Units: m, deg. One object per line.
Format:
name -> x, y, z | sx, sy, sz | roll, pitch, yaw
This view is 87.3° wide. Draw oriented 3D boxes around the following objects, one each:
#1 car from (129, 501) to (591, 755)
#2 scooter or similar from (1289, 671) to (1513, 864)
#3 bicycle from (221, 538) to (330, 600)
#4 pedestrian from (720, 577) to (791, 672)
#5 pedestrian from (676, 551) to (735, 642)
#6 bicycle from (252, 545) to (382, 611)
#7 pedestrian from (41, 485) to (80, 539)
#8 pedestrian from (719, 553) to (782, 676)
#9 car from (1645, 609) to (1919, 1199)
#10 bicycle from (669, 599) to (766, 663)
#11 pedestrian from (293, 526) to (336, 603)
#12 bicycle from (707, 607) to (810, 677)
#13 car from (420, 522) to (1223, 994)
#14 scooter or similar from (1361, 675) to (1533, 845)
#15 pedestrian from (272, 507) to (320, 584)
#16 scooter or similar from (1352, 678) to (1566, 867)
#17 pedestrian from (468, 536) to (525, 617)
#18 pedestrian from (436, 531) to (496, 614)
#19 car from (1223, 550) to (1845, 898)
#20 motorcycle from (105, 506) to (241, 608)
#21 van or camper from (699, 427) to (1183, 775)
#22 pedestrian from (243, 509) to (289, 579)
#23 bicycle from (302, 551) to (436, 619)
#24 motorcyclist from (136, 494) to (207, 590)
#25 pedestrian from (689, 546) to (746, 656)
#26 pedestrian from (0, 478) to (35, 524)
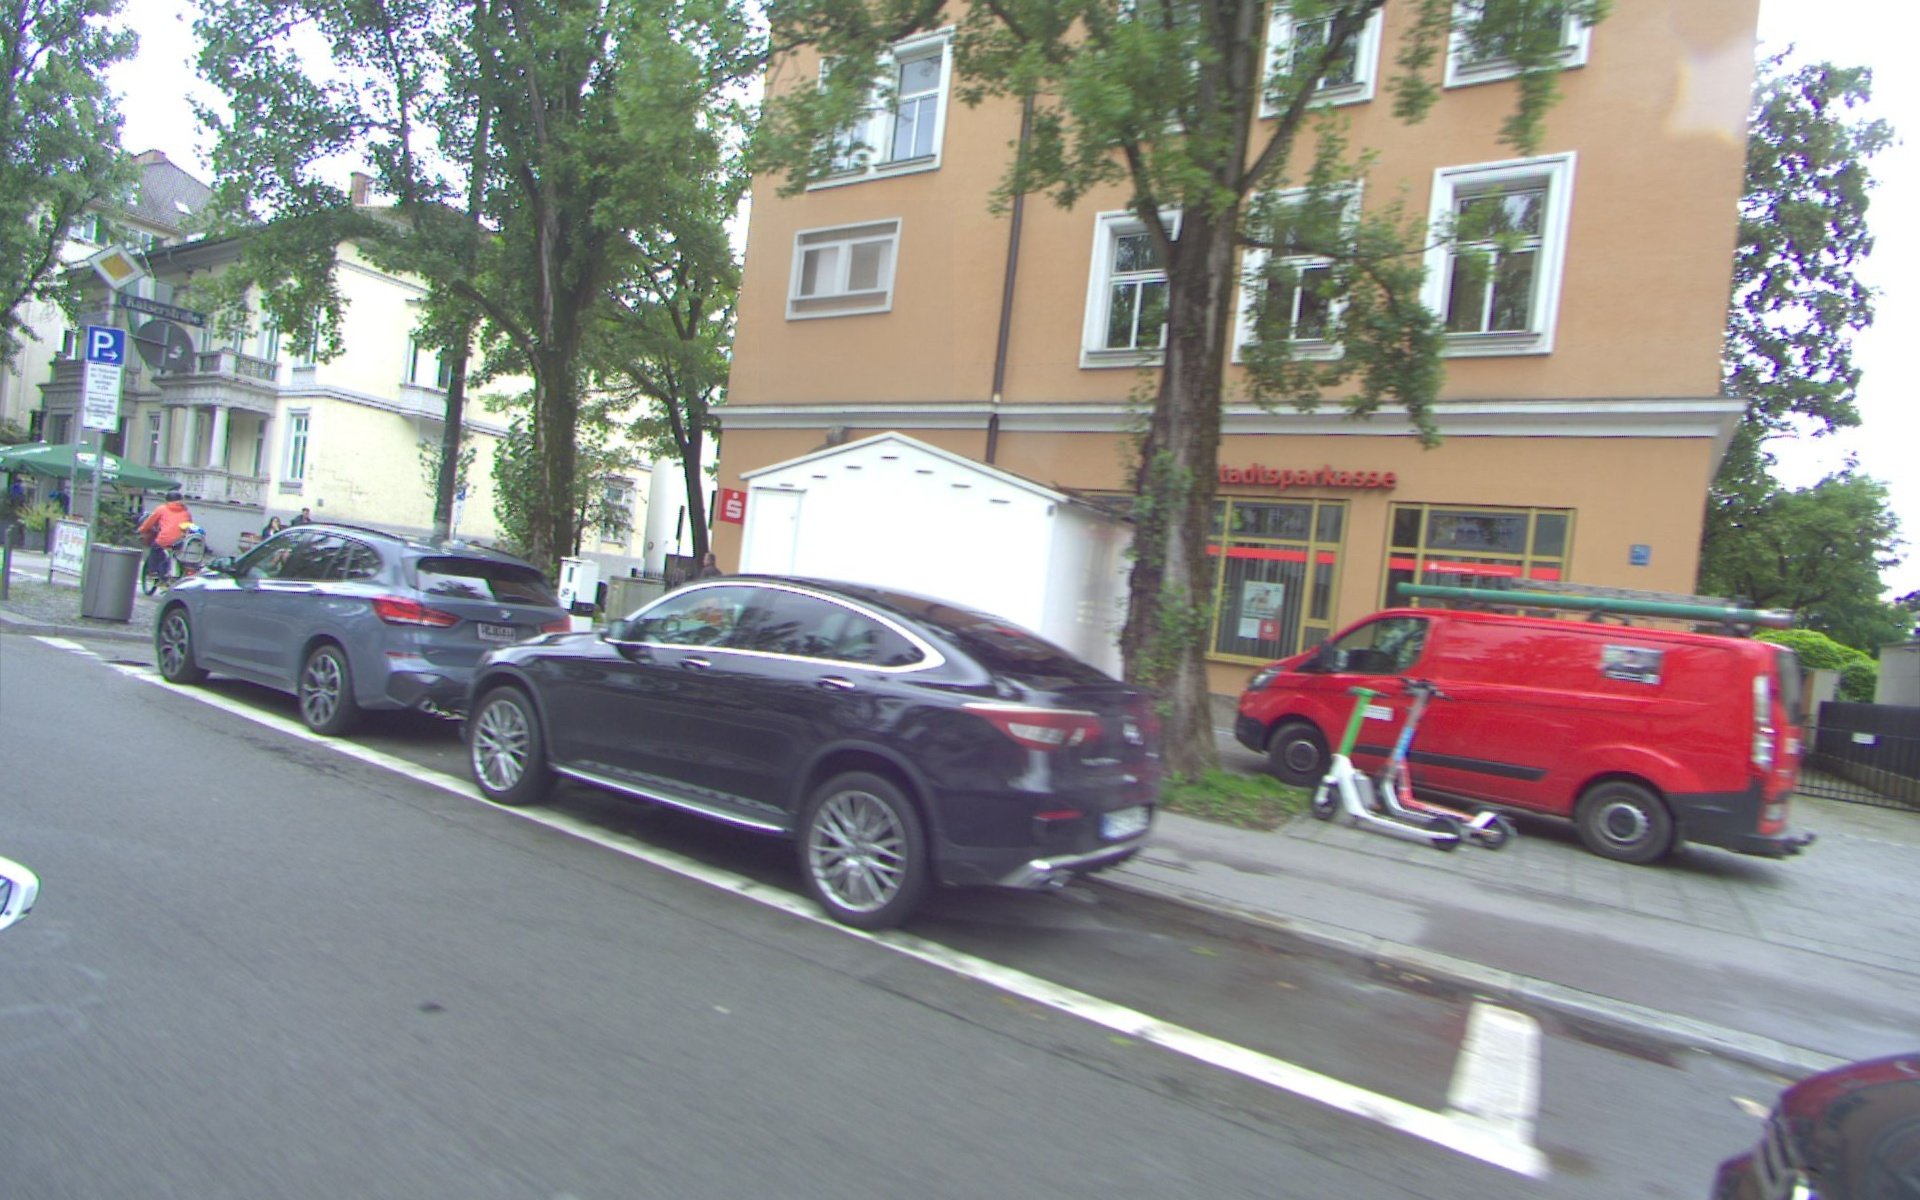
car -> -5.428, 0.143, 8.929 | 4.298, 1.585, 1.625 | 7, 1, 32
scooter or similar -> 3.532, 1.290, 8.139 | 0.523, 1.249, 1.457 | 3, 3, -45
bicycle -> -12.946, -0.553, 19.111 | 0.678, 1.036, 2.059 | 7, 0, -4
pedestrian -> -3.748, 0.464, 18.471 | 0.767, 1.634, 0.820 | 7, 1, 35
pedestrian -> -4.828, -0.067, 19.094 | 0.630, 1.634, 0.672 | 7, 1, 35
bicycle -> -11.912, -0.374, 18.723 | 0.678, 1.036, 2.061 | 7, 0, 13
pedestrian -> -33.102, -3.232, 37.015 | 0.727, 1.877, 0.761 | 7, 1, 29
pedestrian -> -3.260, 0.219, 15.618 | 0.756, 1.795, 0.562 | 6, 1, -15
car -> 3.121, 1.072, 0.713 | 4.112, 1.633, 1.764 | 7, -1, 30
bicycle -> -4.095, 0.531, 17.071 | 1.500, 0.939, 0.348 | 7, 1, -35
pedestrian -> -14.829, -0.820, 23.133 | 0.663, 1.671, 0.621 | 6, 1, -31
bicycle -> -3.230, 0.672, 16.179 | 1.487, 0.939, 0.464 | 7, 1, -5
car -> -0.988, 0.612, 6.073 | 4.506, 1.662, 1.883 | 7, 1, 31
scooter or similar -> 4.259, 1.359, 8.843 | 0.484, 1.249, 1.152 | 3, 3, -45
pedestrian -> -17.299, -1.410, 26.202 | 0.755, 1.895, 0.700 | 6, -1, 41
scooter or similar -> 4.082, 1.364, 8.302 | 0.484, 1.249, 1.388 | 3, 3, -45
pedestrian -> -10.123, -0.515, 21.978 | 0.763, 1.648, 0.687 | 7, 1, 30
pedestrian -> -10.438, -0.578, 21.258 | 0.763, 1.648, 0.687 | 7, 1, 30
car -> 5.292, 0.914, 9.821 | 4.761, 2.358, 1.896 | 7, 1, 44
motorcycle -> -12.565, -0.690, 16.039 | 2.214, 1.388, 0.827 | 7, 2, 29
van or camper -> -0.281, -0.127, 11.436 | 4.638, 3.152, 2.461 | 7, 1, 33
pedestrian -> -17.621, -1.412, 25.533 | 0.755, 1.666, 0.647 | 6, -1, 41
bicycle -> -10.746, -0.246, 18.378 | 0.678, 1.036, 2.059 | 7, 0, 22
motorcyclist -> -12.553, -0.919, 16.018 | 0.753, 1.425, 0.564 | 7, 2, 28
pedestrian -> -4.195, 0.020, 17.370 | 0.756, 1.795, 0.562 | 6, 1, -15
pedestrian -> -39.612, -4.143, 42.237 | 0.805, 1.778, 0.927 | 5, 2, -26
